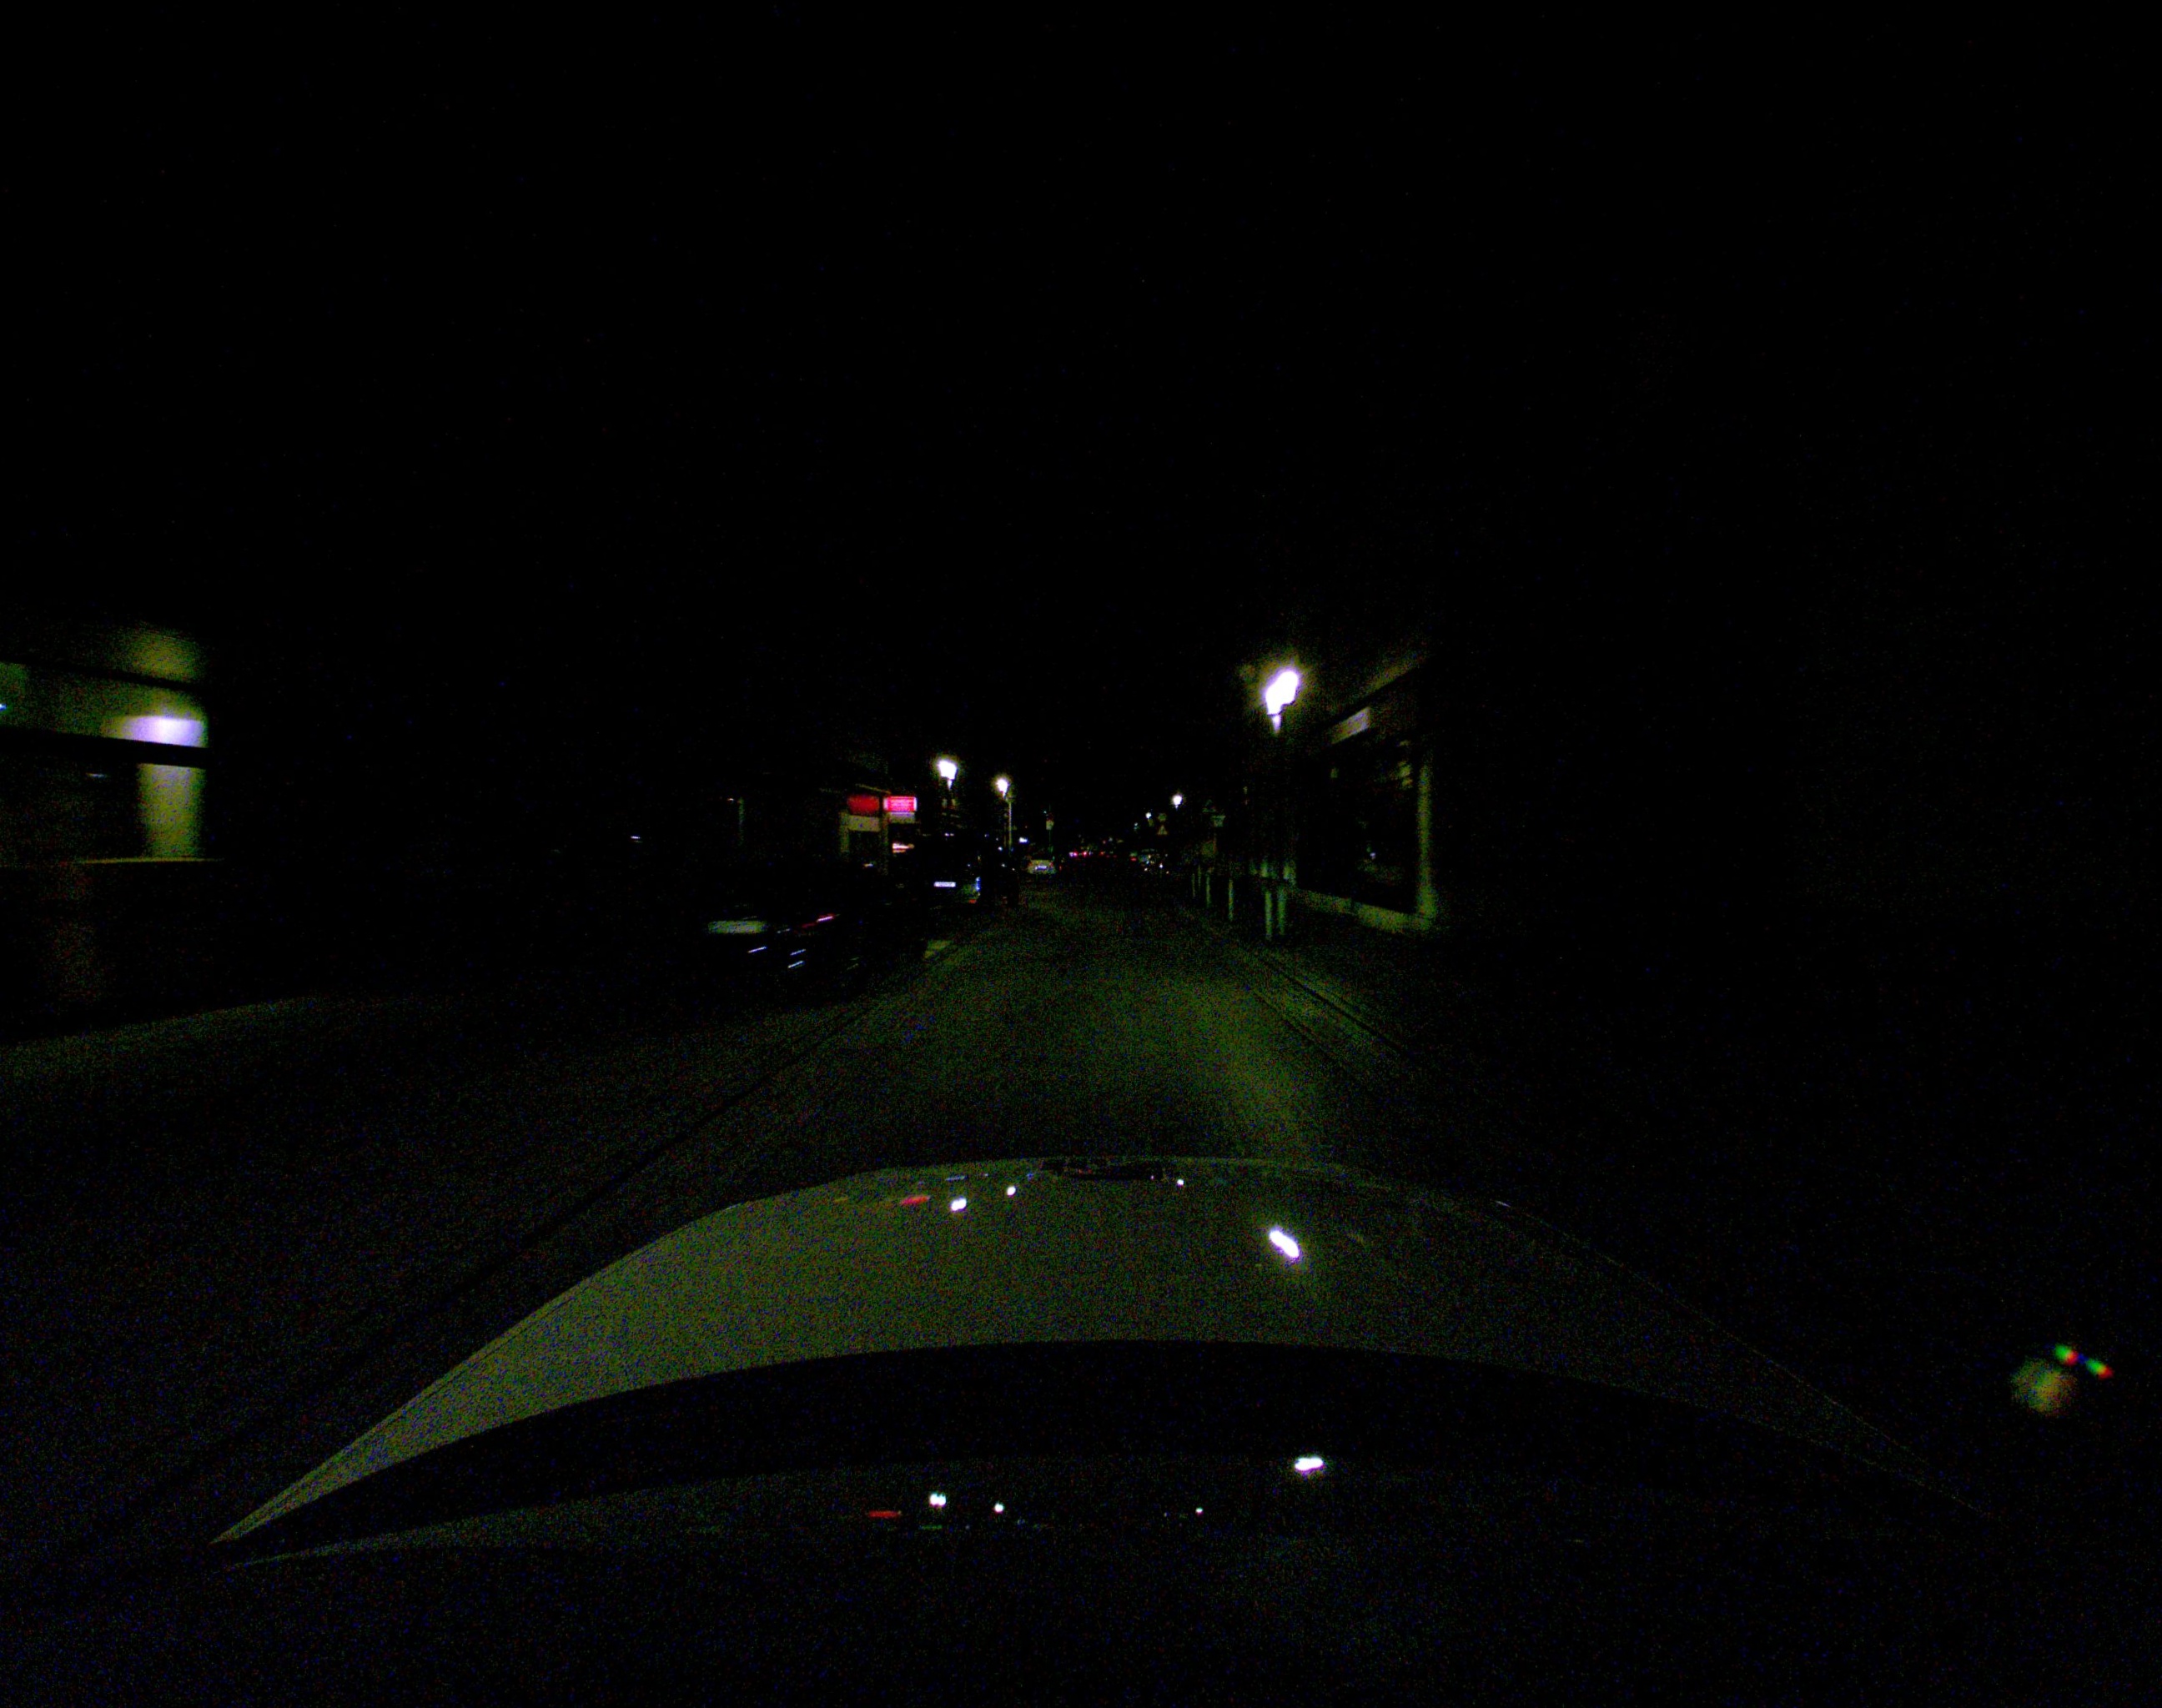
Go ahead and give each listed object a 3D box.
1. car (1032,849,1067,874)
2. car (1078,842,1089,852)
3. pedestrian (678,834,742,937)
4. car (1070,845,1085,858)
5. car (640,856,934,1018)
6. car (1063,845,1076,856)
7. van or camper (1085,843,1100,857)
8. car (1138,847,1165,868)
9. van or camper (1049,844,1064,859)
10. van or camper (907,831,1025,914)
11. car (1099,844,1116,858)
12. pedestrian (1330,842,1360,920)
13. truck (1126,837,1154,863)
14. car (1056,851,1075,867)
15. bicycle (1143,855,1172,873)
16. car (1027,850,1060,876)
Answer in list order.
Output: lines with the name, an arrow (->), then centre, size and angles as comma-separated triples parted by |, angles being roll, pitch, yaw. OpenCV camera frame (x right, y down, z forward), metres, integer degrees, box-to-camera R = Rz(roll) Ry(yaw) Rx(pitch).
car -> -2.003, 0.447, 53.532 | 2.012, 1.488, 5.008 | 2, 0, 1
car -> 0.542, -1.273, 157.524 | 1.836, 1.901, 3.840 | -1, 0, -4
pedestrian -> -6.486, 0.530, 14.264 | 0.619, 1.745, 1.023 | 0, 0, 2
car -> -0.536, -0.401, 119.996 | 1.990, 1.823, 3.994 | -1, 0, -4
car -> -3.070, 0.757, 9.593 | 1.710, 1.413, 4.388 | 1, 0, 2
car -> -1.948, -0.534, 134.158 | 1.989, 1.702, 3.995 | -1, 0, -4
van or camper -> 1.918, -0.742, 138.399 | 2.105, 2.317, 4.254 | -2, 0, -5
car -> 5.285, 0.254, 61.346 | 1.782, 1.491, 4.061 | -2, 0, 2
van or camper -> -3.643, -0.374, 119.317 | 1.864, 2.011, 4.254 | 1, 0, -5
van or camper -> -2.887, 0.431, 21.778 | 1.836, 1.942, 5.163 | 0, 0, 7
car -> 3.672, -0.365, 112.214 | 1.812, 1.828, 4.340 | -1, 0, -5
pedestrian -> 5.349, 0.540, 16.531 | 0.498, 1.547, 0.481 | 0, 0, 7
truck -> 5.508, -0.413, 77.041 | 2.328, 2.312, 5.781 | -1, 0, 1
car -> -1.577, 0.466, 81.405 | 1.670, 1.543, 4.224 | 0, 0, -4
bicycle -> 4.698, 0.632, 50.078 | 1.749, 1.062, 0.346 | -1, 0, -2
car -> -2.174, 0.500, 47.976 | 1.722, 1.476, 3.847 | 0, 0, 0
